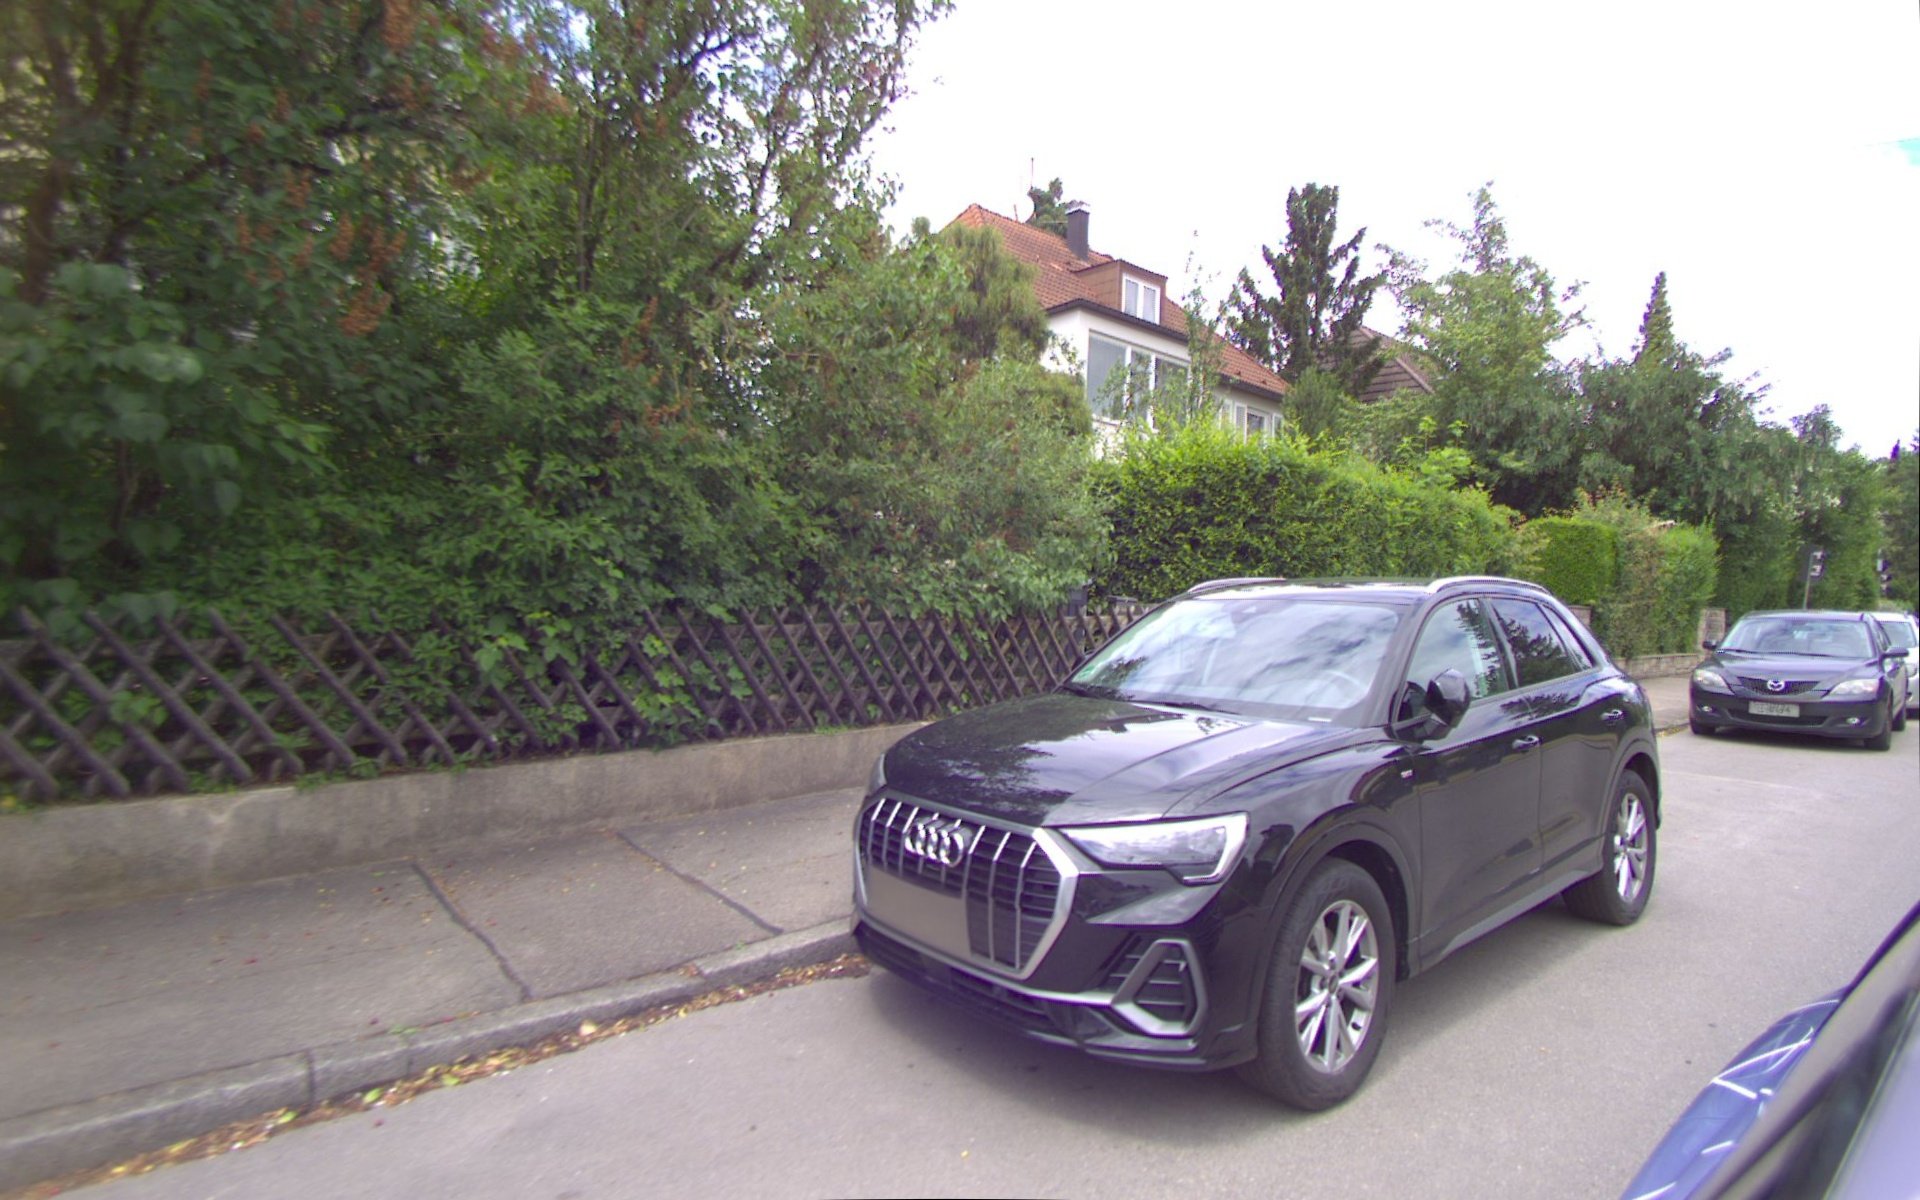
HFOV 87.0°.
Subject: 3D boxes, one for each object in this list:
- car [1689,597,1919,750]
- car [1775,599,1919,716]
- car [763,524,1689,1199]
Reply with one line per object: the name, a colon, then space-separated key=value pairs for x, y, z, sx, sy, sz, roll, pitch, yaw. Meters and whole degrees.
car: x=10.162 y=0.737 z=12.030 sx=4.072 sy=1.478 sz=1.718 roll=1 pitch=1 yaw=-44
car: x=13.796 y=0.777 z=15.268 sx=4.284 sy=1.496 sz=1.758 roll=1 pitch=1 yaw=-43
car: x=1.410 y=0.609 z=4.335 sx=4.067 sy=1.612 sz=1.805 roll=0 pitch=1 yaw=-40
